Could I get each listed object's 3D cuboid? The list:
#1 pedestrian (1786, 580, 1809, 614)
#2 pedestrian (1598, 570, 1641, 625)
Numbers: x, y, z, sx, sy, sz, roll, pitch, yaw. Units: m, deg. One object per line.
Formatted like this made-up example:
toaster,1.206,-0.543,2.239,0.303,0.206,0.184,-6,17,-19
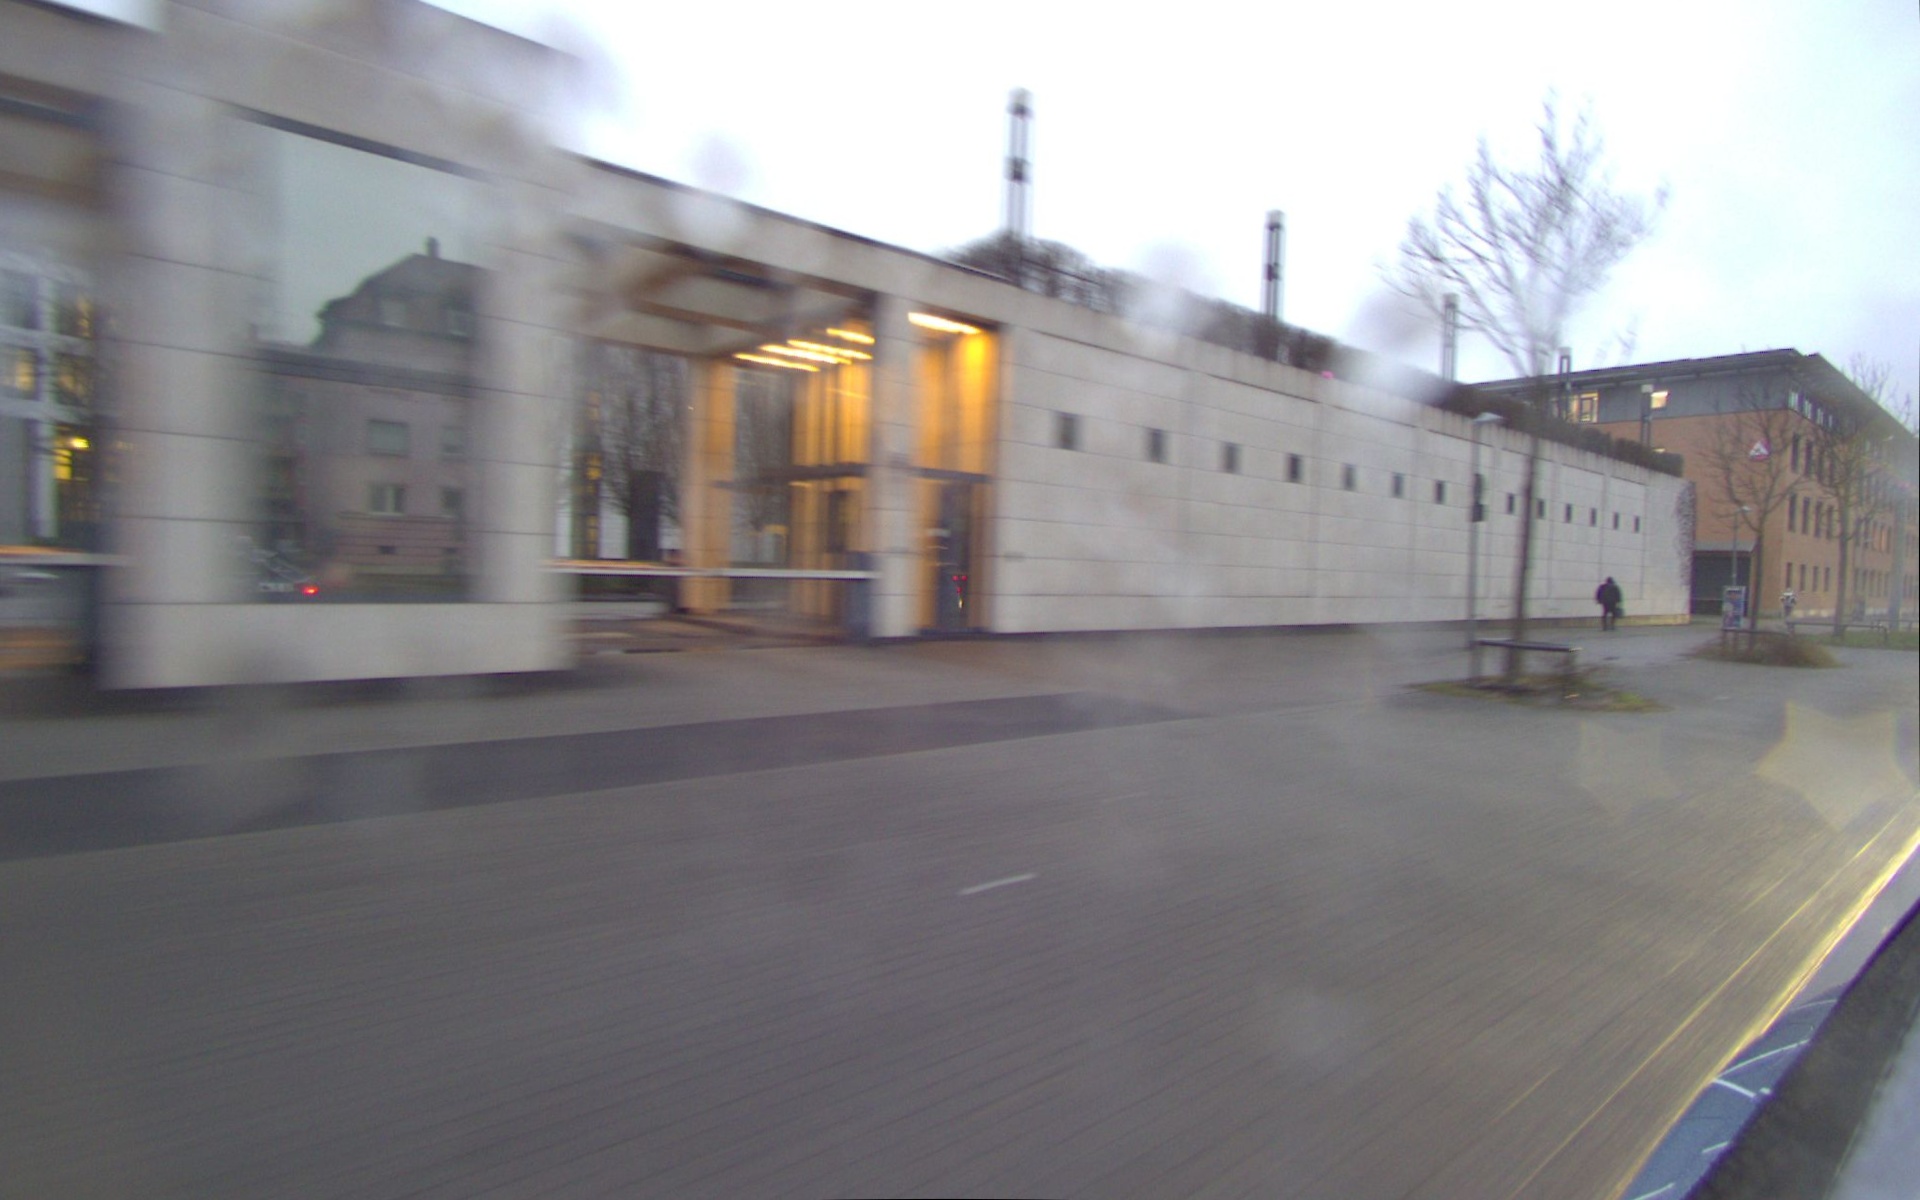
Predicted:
pedestrian,42.126,-0.166,50.891,0.756,1.668,0.674,0,4,-41
pedestrian,20.406,-0.086,31.307,0.868,1.650,0.814,0,4,-41
